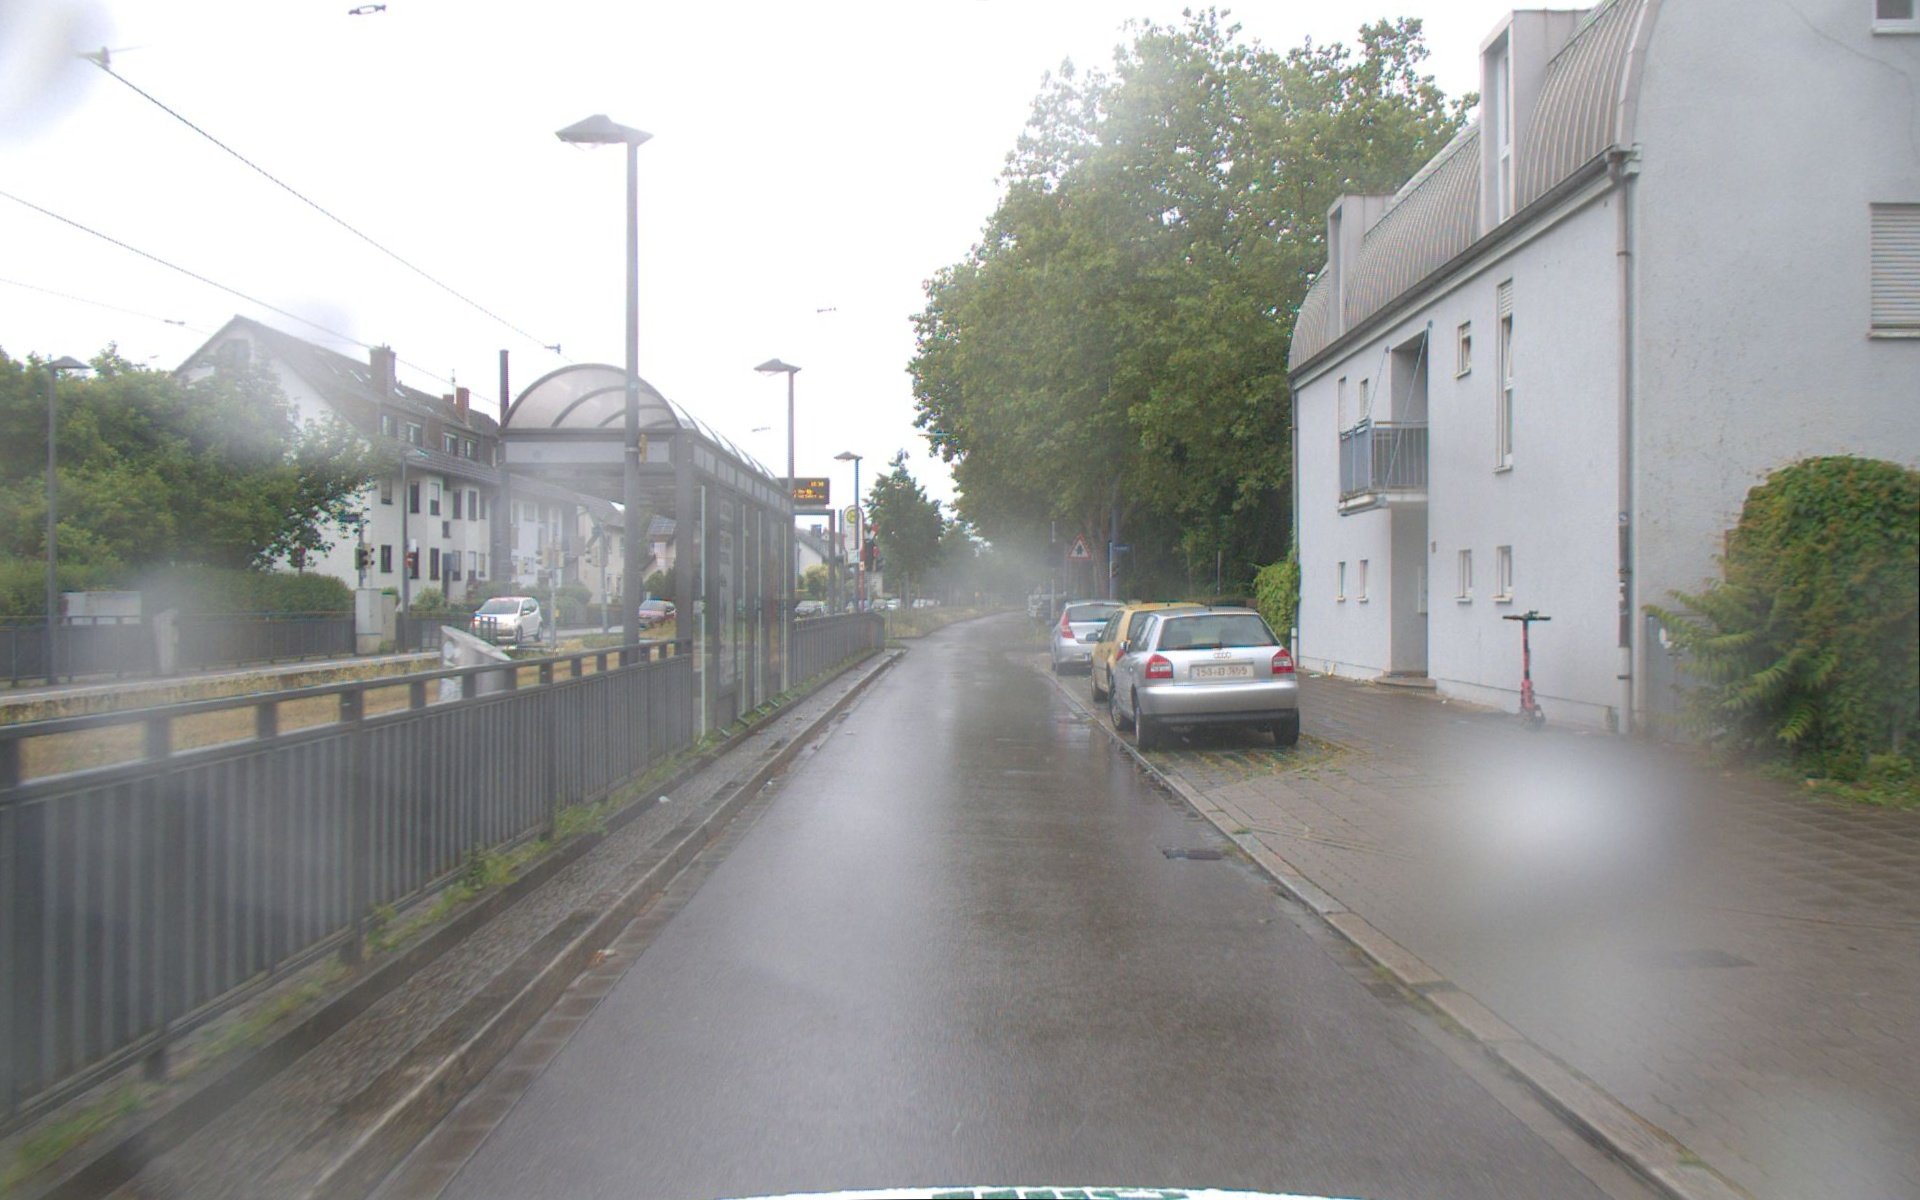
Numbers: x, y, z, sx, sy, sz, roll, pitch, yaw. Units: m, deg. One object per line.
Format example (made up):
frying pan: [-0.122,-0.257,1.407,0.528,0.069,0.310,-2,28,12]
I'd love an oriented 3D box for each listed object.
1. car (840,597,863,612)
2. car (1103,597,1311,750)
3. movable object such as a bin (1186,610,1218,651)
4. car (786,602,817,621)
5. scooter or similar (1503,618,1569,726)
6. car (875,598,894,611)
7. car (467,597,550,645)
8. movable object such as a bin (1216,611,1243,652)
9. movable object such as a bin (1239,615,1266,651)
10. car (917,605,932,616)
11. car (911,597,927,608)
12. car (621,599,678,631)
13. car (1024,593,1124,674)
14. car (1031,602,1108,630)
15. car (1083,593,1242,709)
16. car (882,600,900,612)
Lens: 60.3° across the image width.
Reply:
car: [-11.219,0.444,171.772,1.888,1.512,4.001,1,-1,3]
car: [2.649,0.758,18.717,1.616,1.430,4.649,-3,-1,0]
movable object such as a bin: [6.444,0.807,44.104,0.678,1.040,0.824,-2,-1,-1]
car: [-13.154,0.987,137.407,1.888,1.512,4.001,1,-1,3]
scooter or similar: [6.142,0.748,17.677,0.326,1.104,1.396,1,-1,5]
car: [-8.844,0.530,194.025,1.888,1.512,4.001,1,-1,3]
car: [-15.063,0.694,55.373,1.599,1.519,4.000,1,-1,1]
movable object such as a bin: [7.076,0.815,43.458,0.525,1.040,0.738,-2,-1,-1]
movable object such as a bin: [7.650,0.848,43.298,0.525,0.914,0.738,-2,-1,-1]
car: [-5.339,1.592,249.523,1.888,1.512,4.001,1,-1,3]
car: [-5.830,0.401,236.286,1.888,1.512,4.001,1,-1,3]
car: [-15.548,0.765,82.950,1.888,1.512,4.001,1,-1,3]
car: [2.313,0.690,34.411,1.770,1.493,3.794,-3,-1,0]
car: [6.189,0.894,93.707,3.920,1.478,1.992,1,-1,-15]
car: [2.819,0.699,23.749,1.770,1.430,3.794,-3,-1,0]
car: [-8.609,0.747,205.922,1.888,1.512,4.001,1,-1,3]
